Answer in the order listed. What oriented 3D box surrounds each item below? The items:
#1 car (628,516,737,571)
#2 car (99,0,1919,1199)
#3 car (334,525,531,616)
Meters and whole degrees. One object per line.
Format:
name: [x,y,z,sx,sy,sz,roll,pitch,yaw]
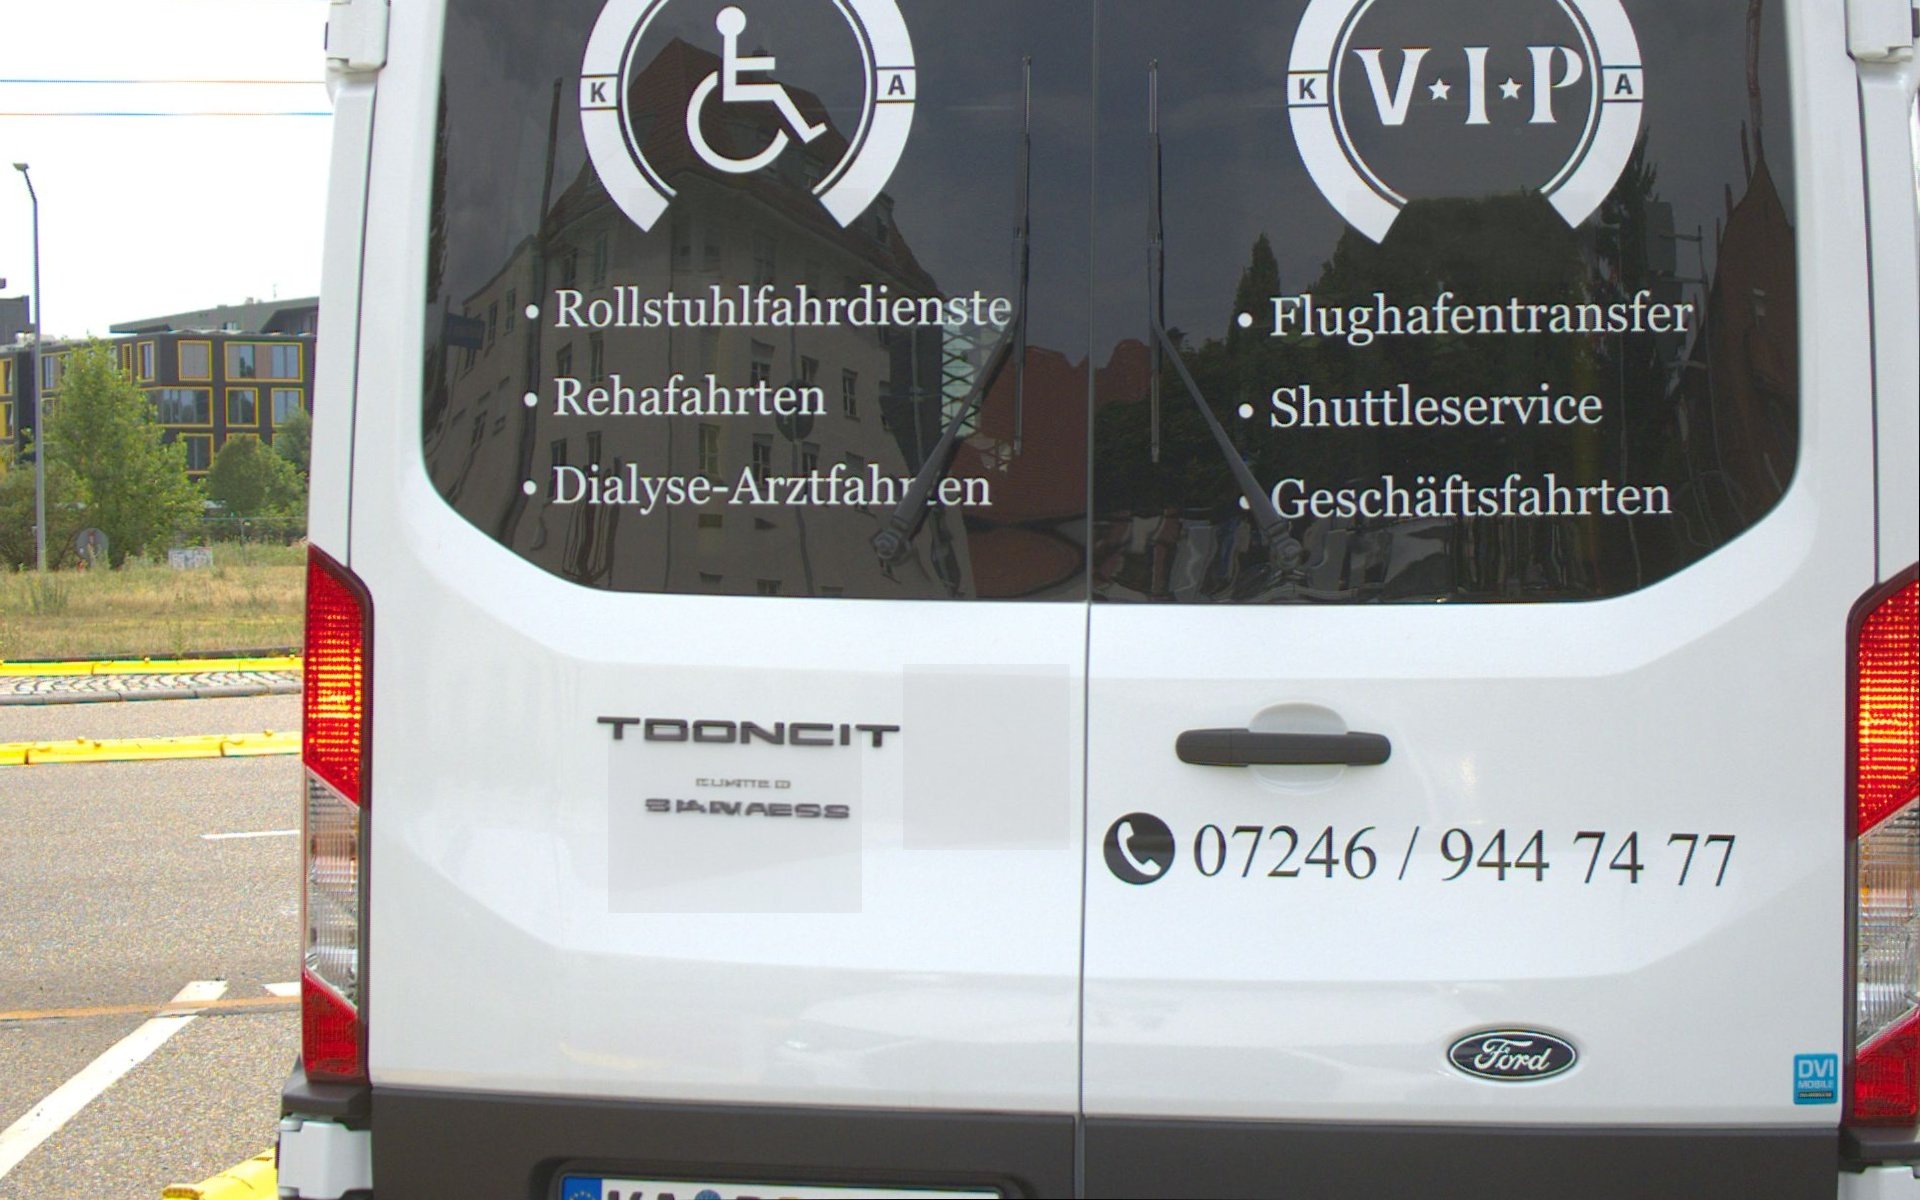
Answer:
car: [-7.539,-1.536,93.812,1.828,1.458,3.998,0,1,13]
car: [0.462,-0.032,6.349,2.127,2.688,5.631,0,1,6]
car: [-11.944,-0.663,77.956,3.989,2.007,1.999,0,0,-43]
